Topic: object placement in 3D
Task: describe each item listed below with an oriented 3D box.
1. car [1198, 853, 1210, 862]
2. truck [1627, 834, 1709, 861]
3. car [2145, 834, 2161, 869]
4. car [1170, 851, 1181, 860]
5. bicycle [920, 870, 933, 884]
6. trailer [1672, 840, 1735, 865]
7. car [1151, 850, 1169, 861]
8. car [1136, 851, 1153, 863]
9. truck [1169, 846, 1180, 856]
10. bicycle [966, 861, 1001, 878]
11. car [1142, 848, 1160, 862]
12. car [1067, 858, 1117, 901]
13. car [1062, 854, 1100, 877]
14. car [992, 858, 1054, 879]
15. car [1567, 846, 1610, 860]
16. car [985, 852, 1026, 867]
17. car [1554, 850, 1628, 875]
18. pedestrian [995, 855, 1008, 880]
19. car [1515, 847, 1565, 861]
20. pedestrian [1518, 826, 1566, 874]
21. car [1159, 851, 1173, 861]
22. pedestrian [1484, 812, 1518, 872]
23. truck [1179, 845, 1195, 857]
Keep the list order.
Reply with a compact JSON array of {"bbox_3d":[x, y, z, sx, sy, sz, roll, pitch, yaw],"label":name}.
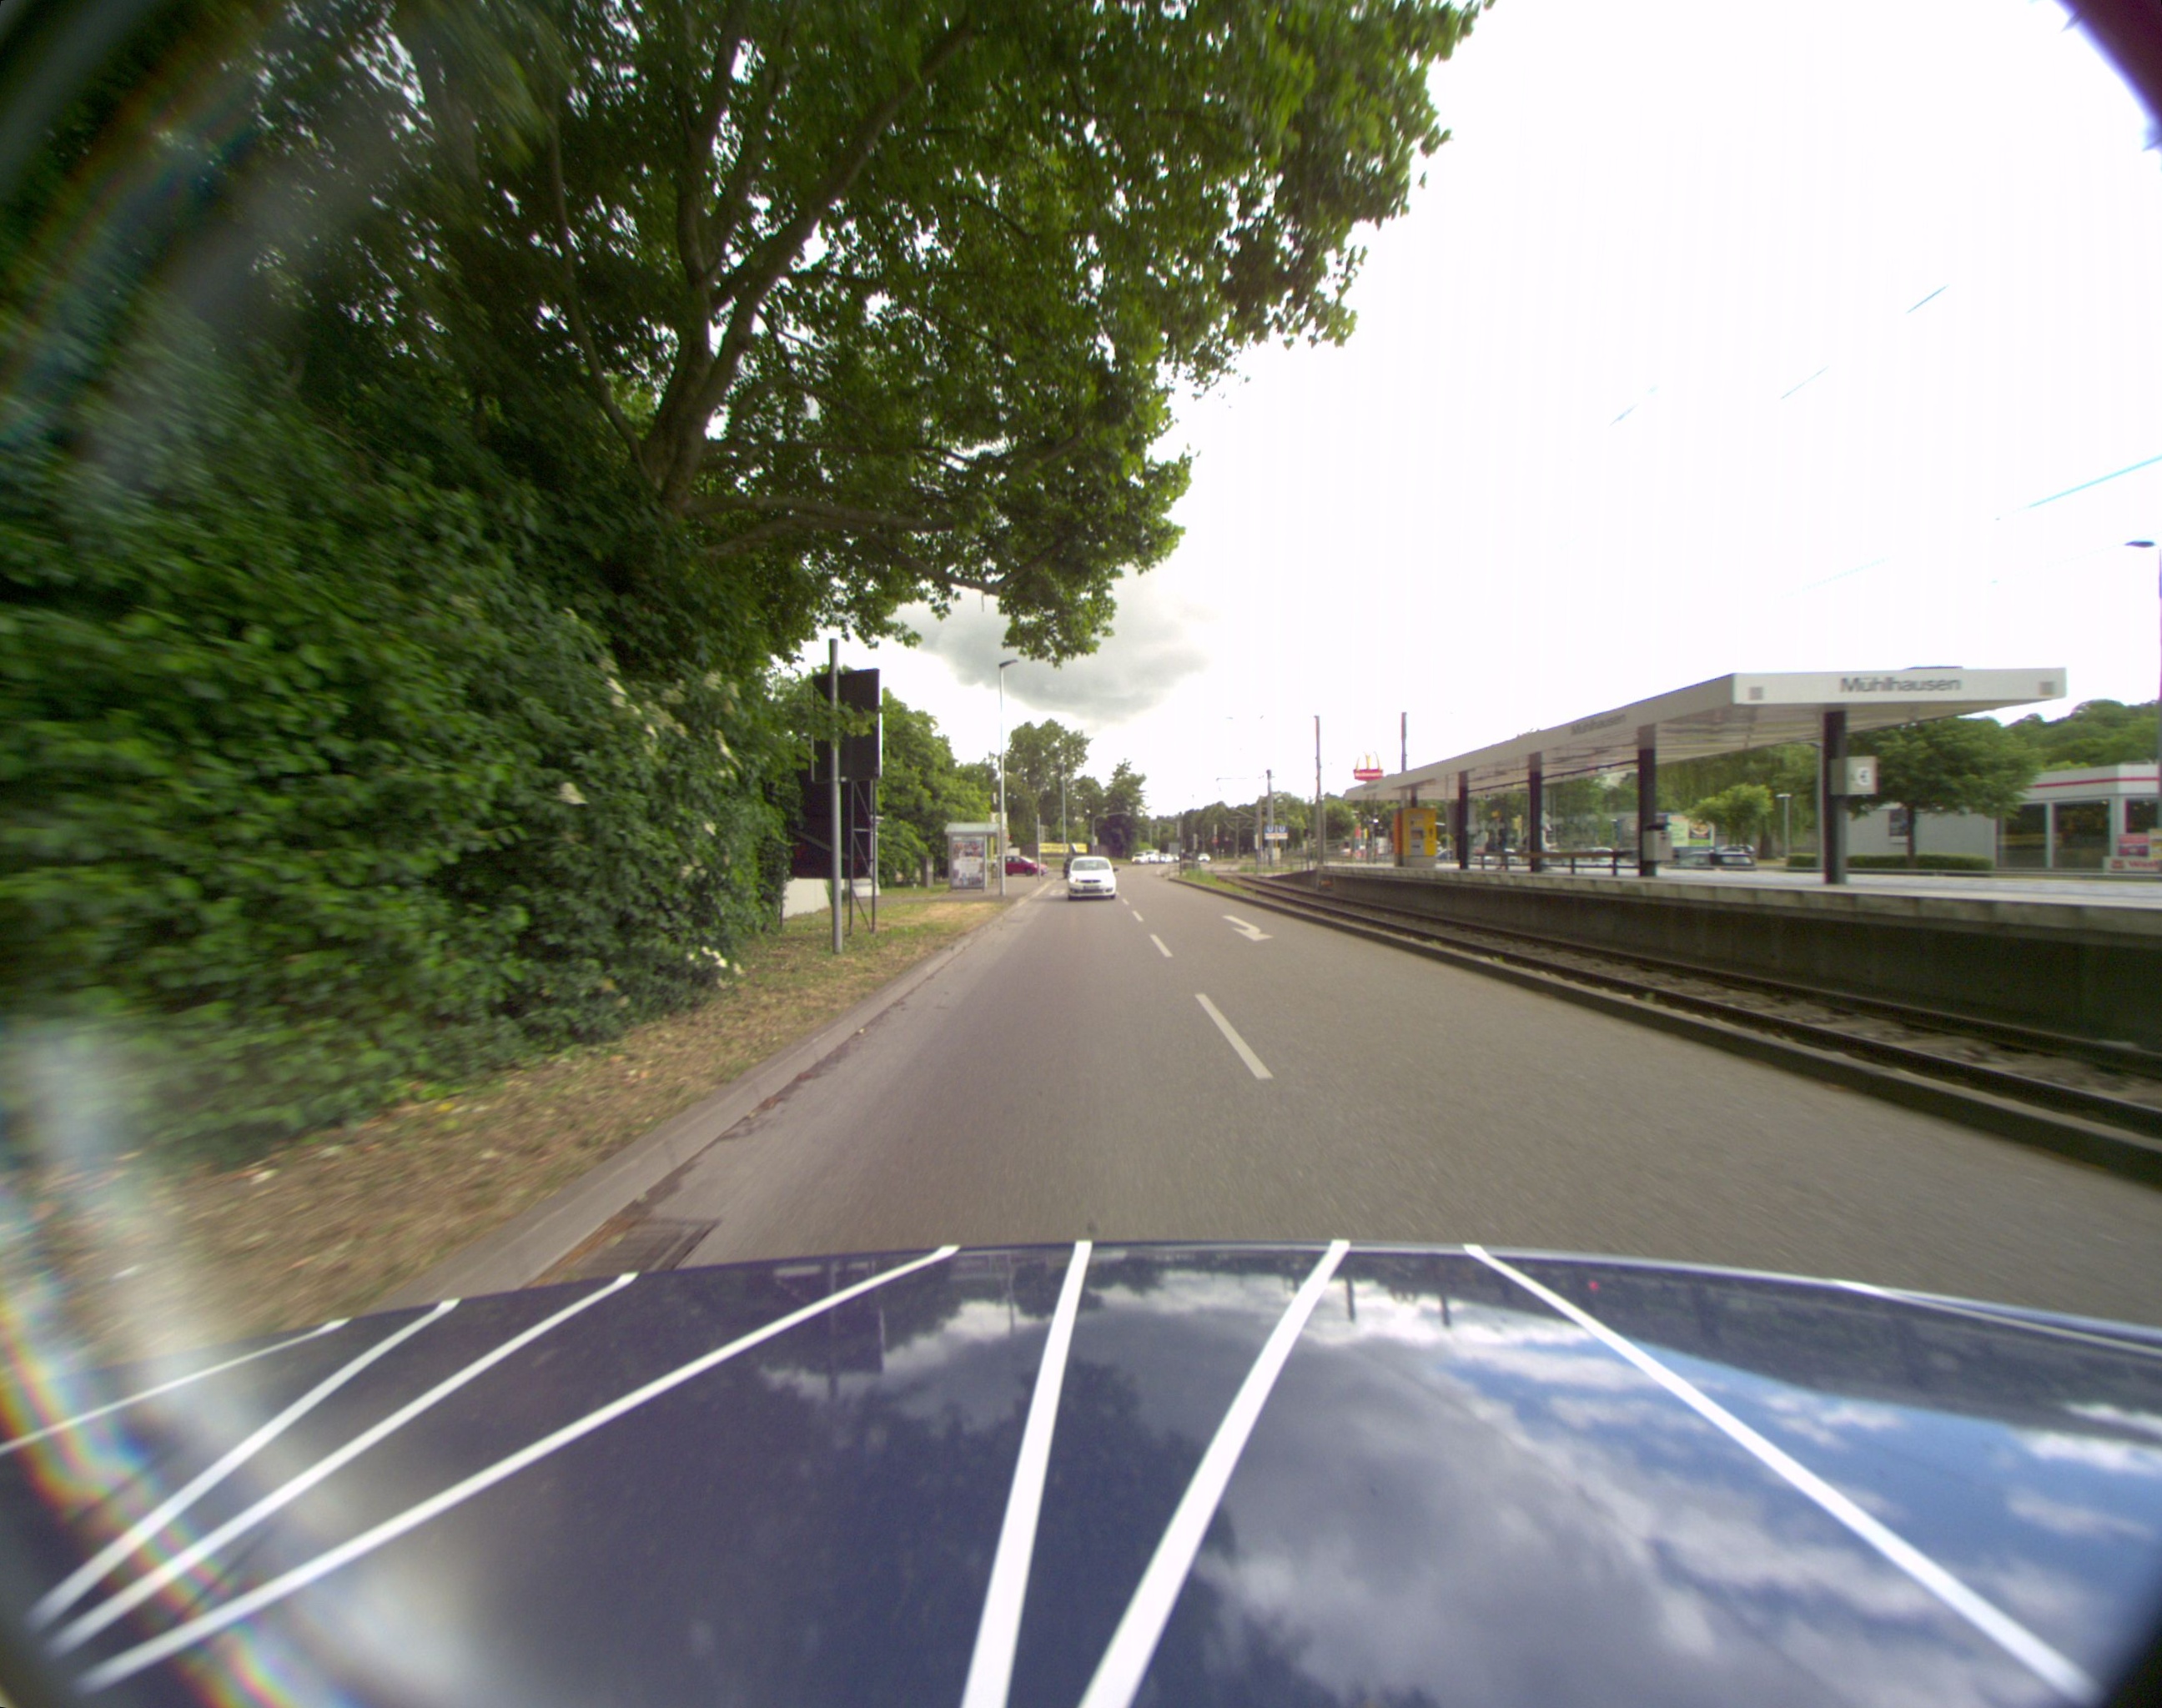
[{"bbox_3d":[21.652,0.559,133.850,1.965,1.543,4.003,1,1,10],"label":"car"},{"bbox_3d":[55.365,-0.571,71.734,5.820,2.480,2.387,0,1,2],"label":"truck"},{"bbox_3d":[42.576,-0.115,28.039,1.617,1.342,3.636,-1,0,3],"label":"car"},{"bbox_3d":[17.436,0.243,139.727,1.829,1.543,4.003,1,1,10],"label":"car"},{"bbox_3d":[-9.041,1.332,44.497,0.478,0.803,1.514,-2,0,-4],"label":"bicycle"},{"bbox_3d":[56.448,-0.156,68.943,4.388,2.245,1.560,1,1,1],"label":"trailer"},{"bbox_3d":[11.606,0.154,111.216,1.996,1.527,4.004,1,1,13],"label":"car"},{"bbox_3d":[8.097,0.340,96.663,1.718,1.410,4.003,1,1,12],"label":"car"},{"bbox_3d":[27.161,-0.927,221.013,2.711,3.014,8.310,1,1,2],"label":"truck"},{"bbox_3d":[-5.490,0.860,42.733,1.871,0.919,0.545,-1,1,2],"label":"bicycle"},{"bbox_3d":[9.492,0.143,102.862,1.807,1.814,4.004,-1,0,13],"label":"car"},{"bbox_3d":[0.349,0.889,28.014,1.674,1.439,3.604,0,0,-2],"label":"car"},{"bbox_3d":[-0.048,0.765,53.901,1.722,1.522,4.181,-1,1,-14],"label":"car"},{"bbox_3d":[-4.594,1.128,60.296,4.496,1.607,1.901,-1,1,27],"label":"car"},{"bbox_3d":[56.015,-0.123,83.866,3.639,1.545,1.727,1,1,-1],"label":"car"},{"bbox_3d":[-7.477,0.514,75.449,3.832,1.446,1.630,-1,1,-16],"label":"car"},{"bbox_3d":[28.896,0.465,43.217,1.617,1.342,4.031,-1,0,2],"label":"car"},{"bbox_3d":[-4.903,0.819,46.828,0.755,1.505,0.671,1,1,1],"label":"pedestrian"},{"bbox_3d":[48.201,-0.017,79.861,4.419,1.423,1.794,-1,0,-12],"label":"car"},{"bbox_3d":[11.515,-0.100,18.990,0.771,1.182,0.728,-1,1,5],"label":"pedestrian"},{"bbox_3d":[13.104,0.275,117.404,1.829,1.543,4.003,1,1,11],"label":"car"},{"bbox_3d":[11.457,-0.317,20.745,0.585,1.611,0.572,1,1,2],"label":"pedestrian"},{"bbox_3d":[30.822,-0.908,221.143,3.435,3.539,8.700,1,1,2],"label":"truck"}]
